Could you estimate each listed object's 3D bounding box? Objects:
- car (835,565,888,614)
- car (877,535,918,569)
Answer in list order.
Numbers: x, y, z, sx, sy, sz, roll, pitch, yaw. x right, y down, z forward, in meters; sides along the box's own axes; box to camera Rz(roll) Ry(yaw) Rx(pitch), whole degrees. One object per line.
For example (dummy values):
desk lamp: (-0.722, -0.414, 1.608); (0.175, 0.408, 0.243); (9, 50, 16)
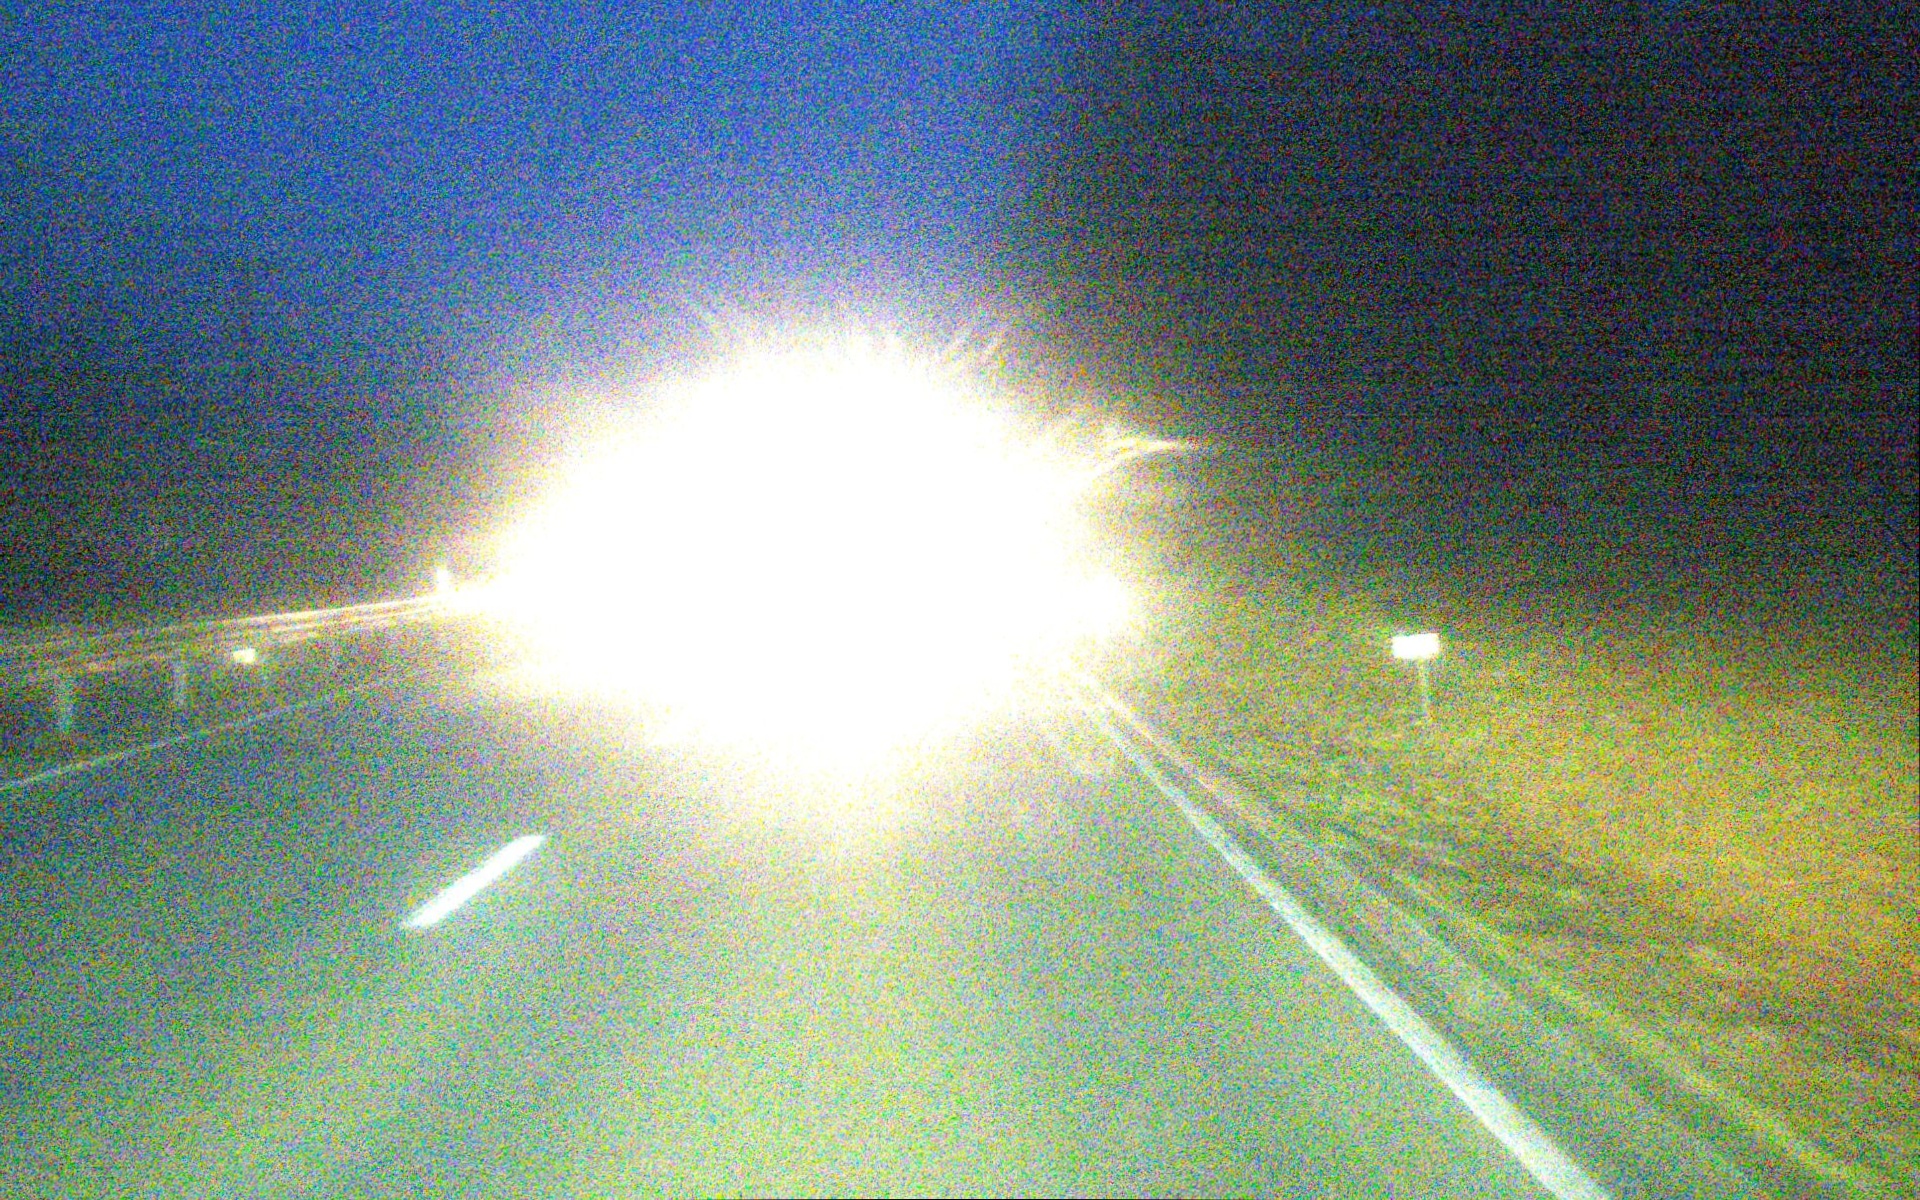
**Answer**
car: (-3.888, -0.439, 136.293); (1.993, 1.818, 4.563); (2, 1, -1)
car: (-3.090, -2.372, 170.552); (1.993, 1.660, 4.000); (0, 1, -1)
